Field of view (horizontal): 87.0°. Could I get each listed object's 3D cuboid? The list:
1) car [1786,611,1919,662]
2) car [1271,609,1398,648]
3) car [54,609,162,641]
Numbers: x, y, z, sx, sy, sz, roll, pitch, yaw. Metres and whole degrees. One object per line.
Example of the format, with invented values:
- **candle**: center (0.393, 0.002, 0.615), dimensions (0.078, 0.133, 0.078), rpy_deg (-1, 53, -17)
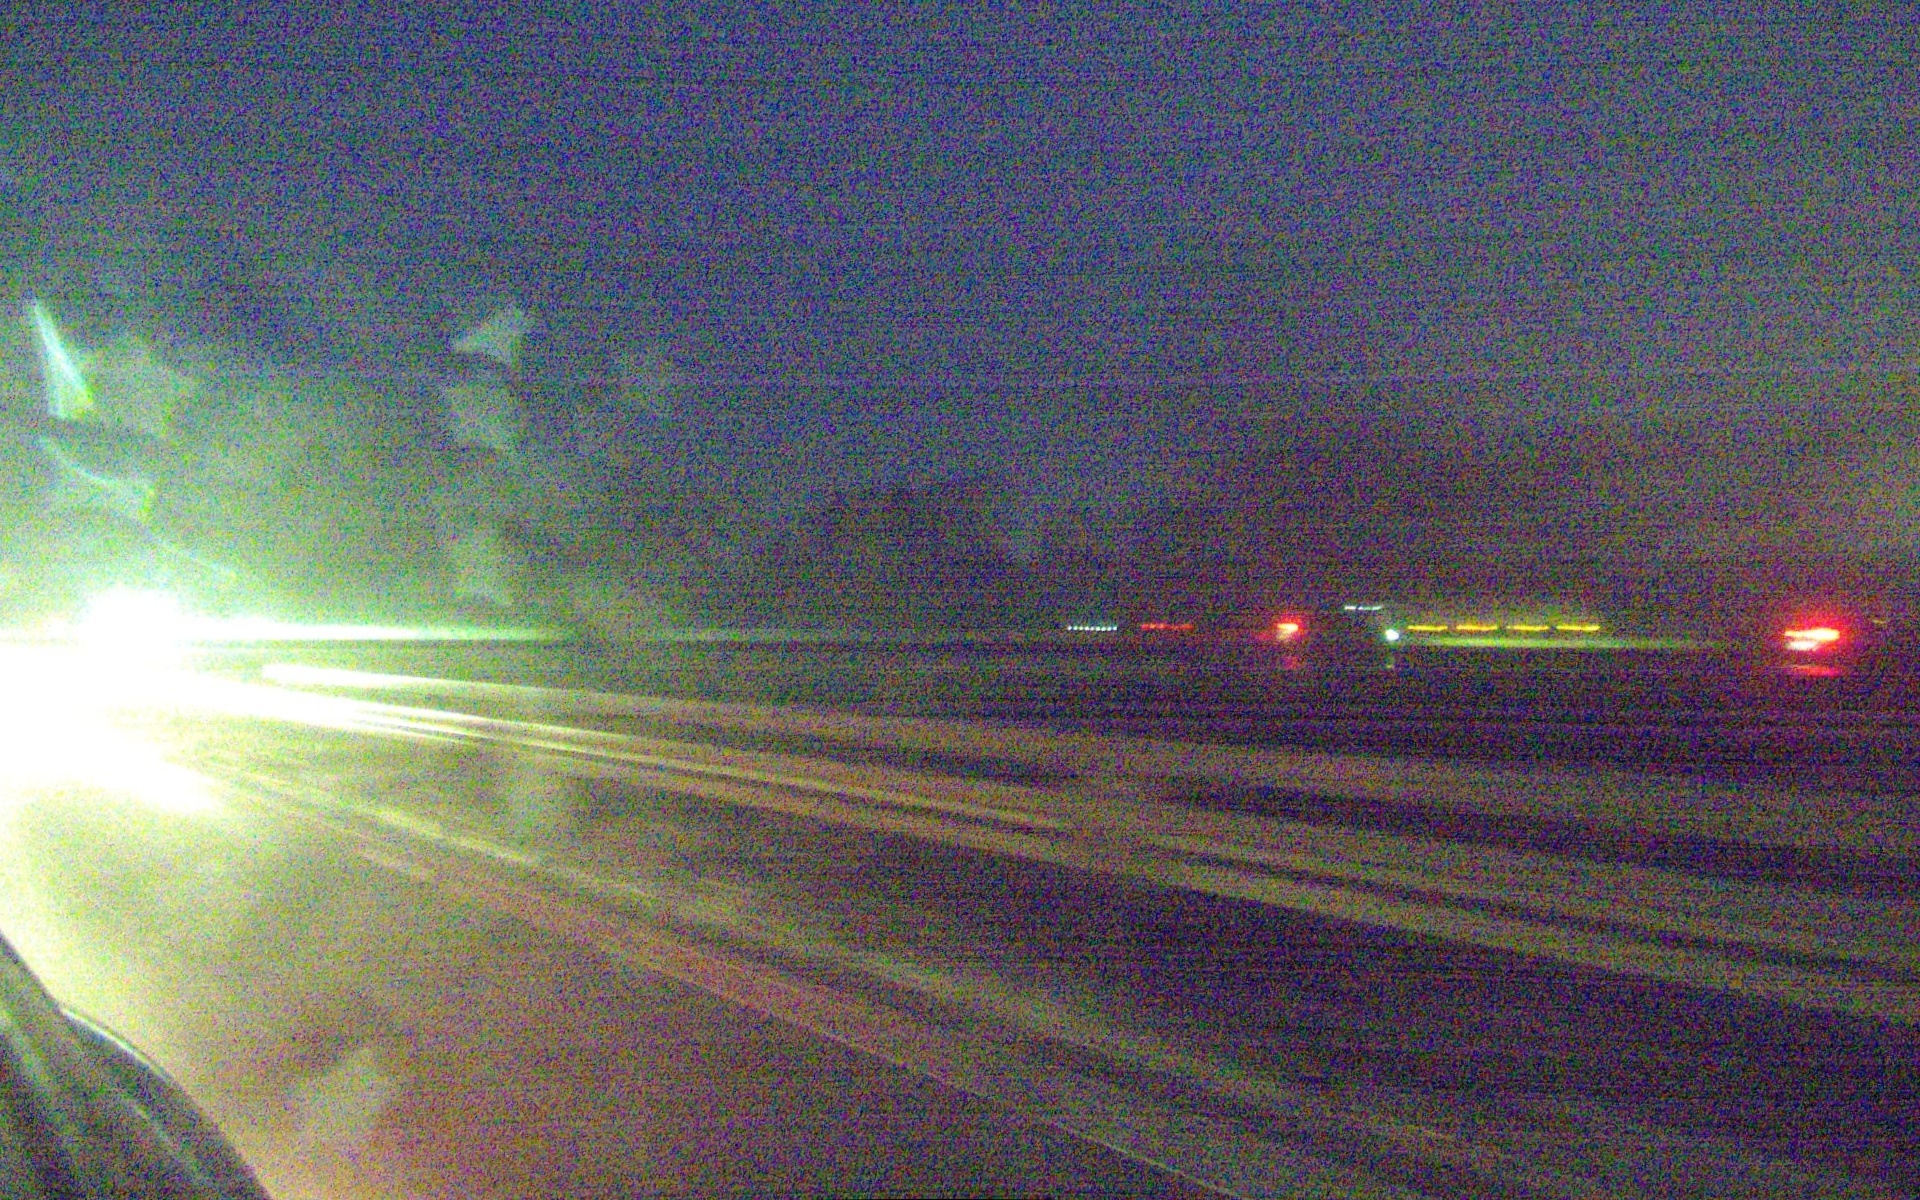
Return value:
- **car**: center (31.209, 1.206, 34.202), dimensions (4.797, 1.627, 1.934), rpy_deg (0, 0, 7)
- **car**: center (16.074, 1.195, 43.601), dimensions (4.808, 1.492, 1.762), rpy_deg (0, 2, 8)
- **car**: center (-42.619, 1.258, 50.682), dimensions (4.060, 1.552, 1.886), rpy_deg (0, 0, 7)
